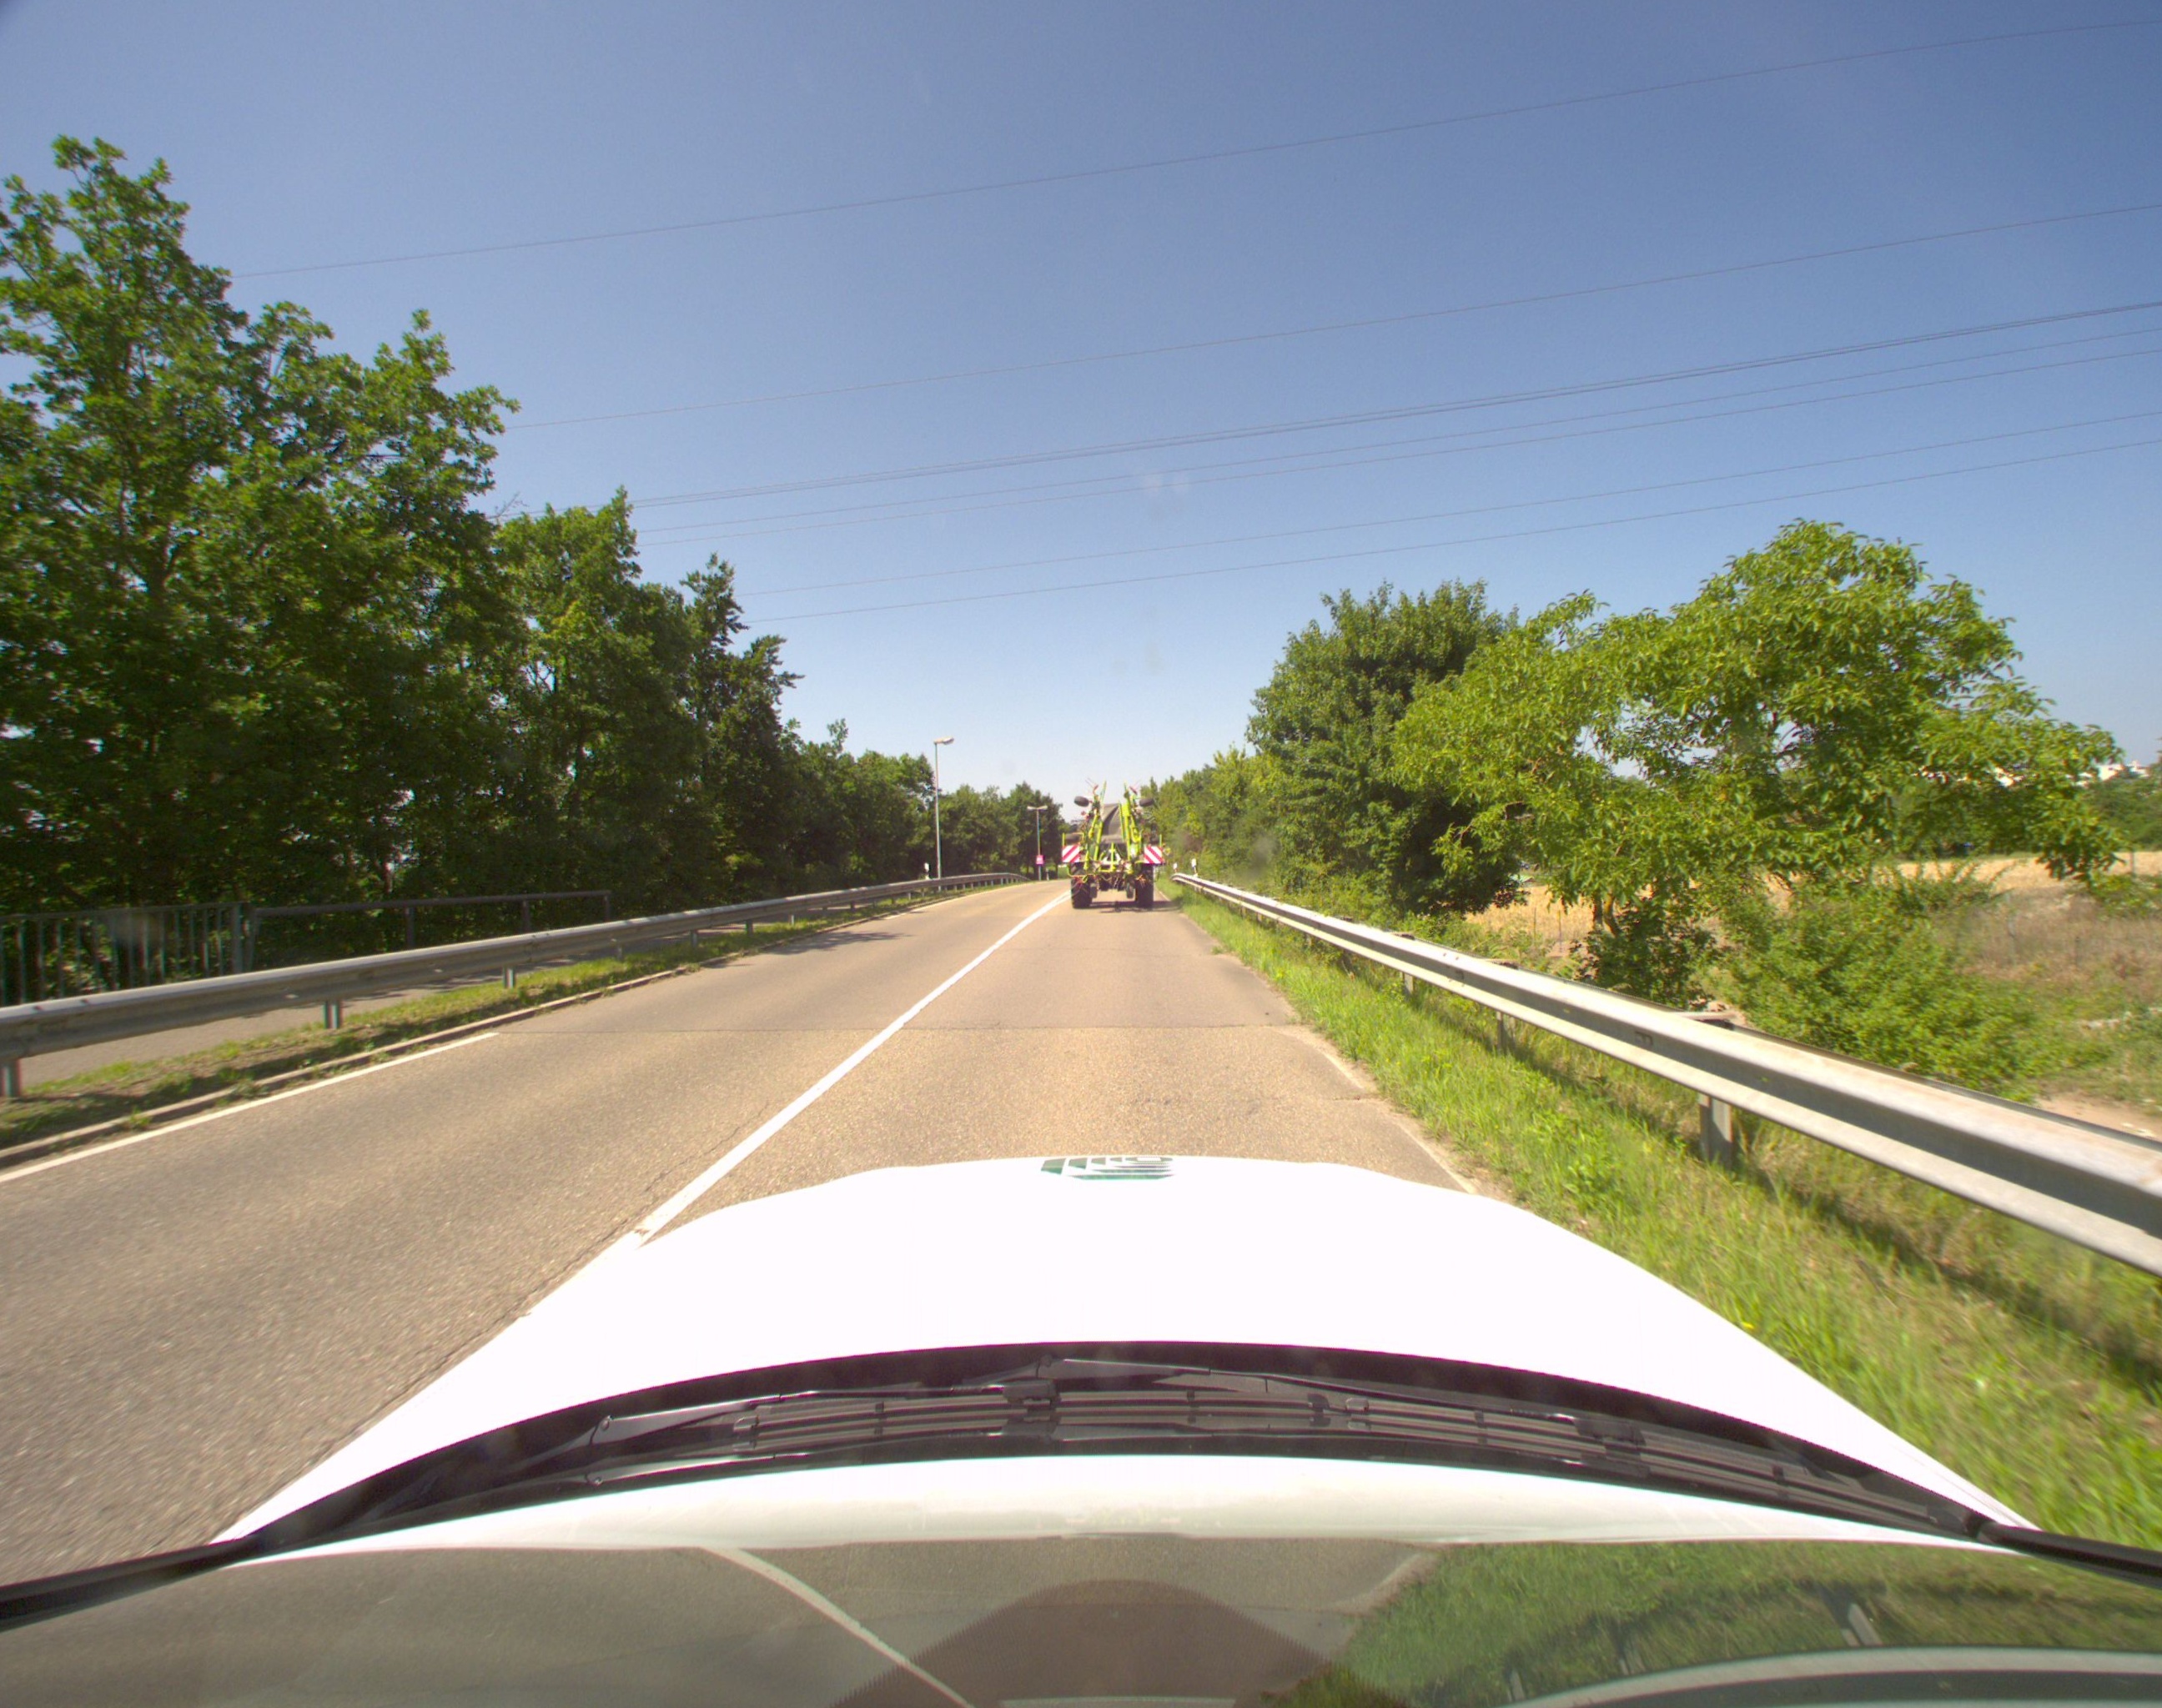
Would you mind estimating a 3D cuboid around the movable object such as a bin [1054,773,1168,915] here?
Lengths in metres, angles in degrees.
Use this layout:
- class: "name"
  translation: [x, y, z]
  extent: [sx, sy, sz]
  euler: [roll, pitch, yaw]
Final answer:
- class: "movable object such as a bin"
  translation: [0.884, -0.280, 22.923]
  extent: [2.744, 3.444, 5.675]
  euler: [-1, 0, 3]
